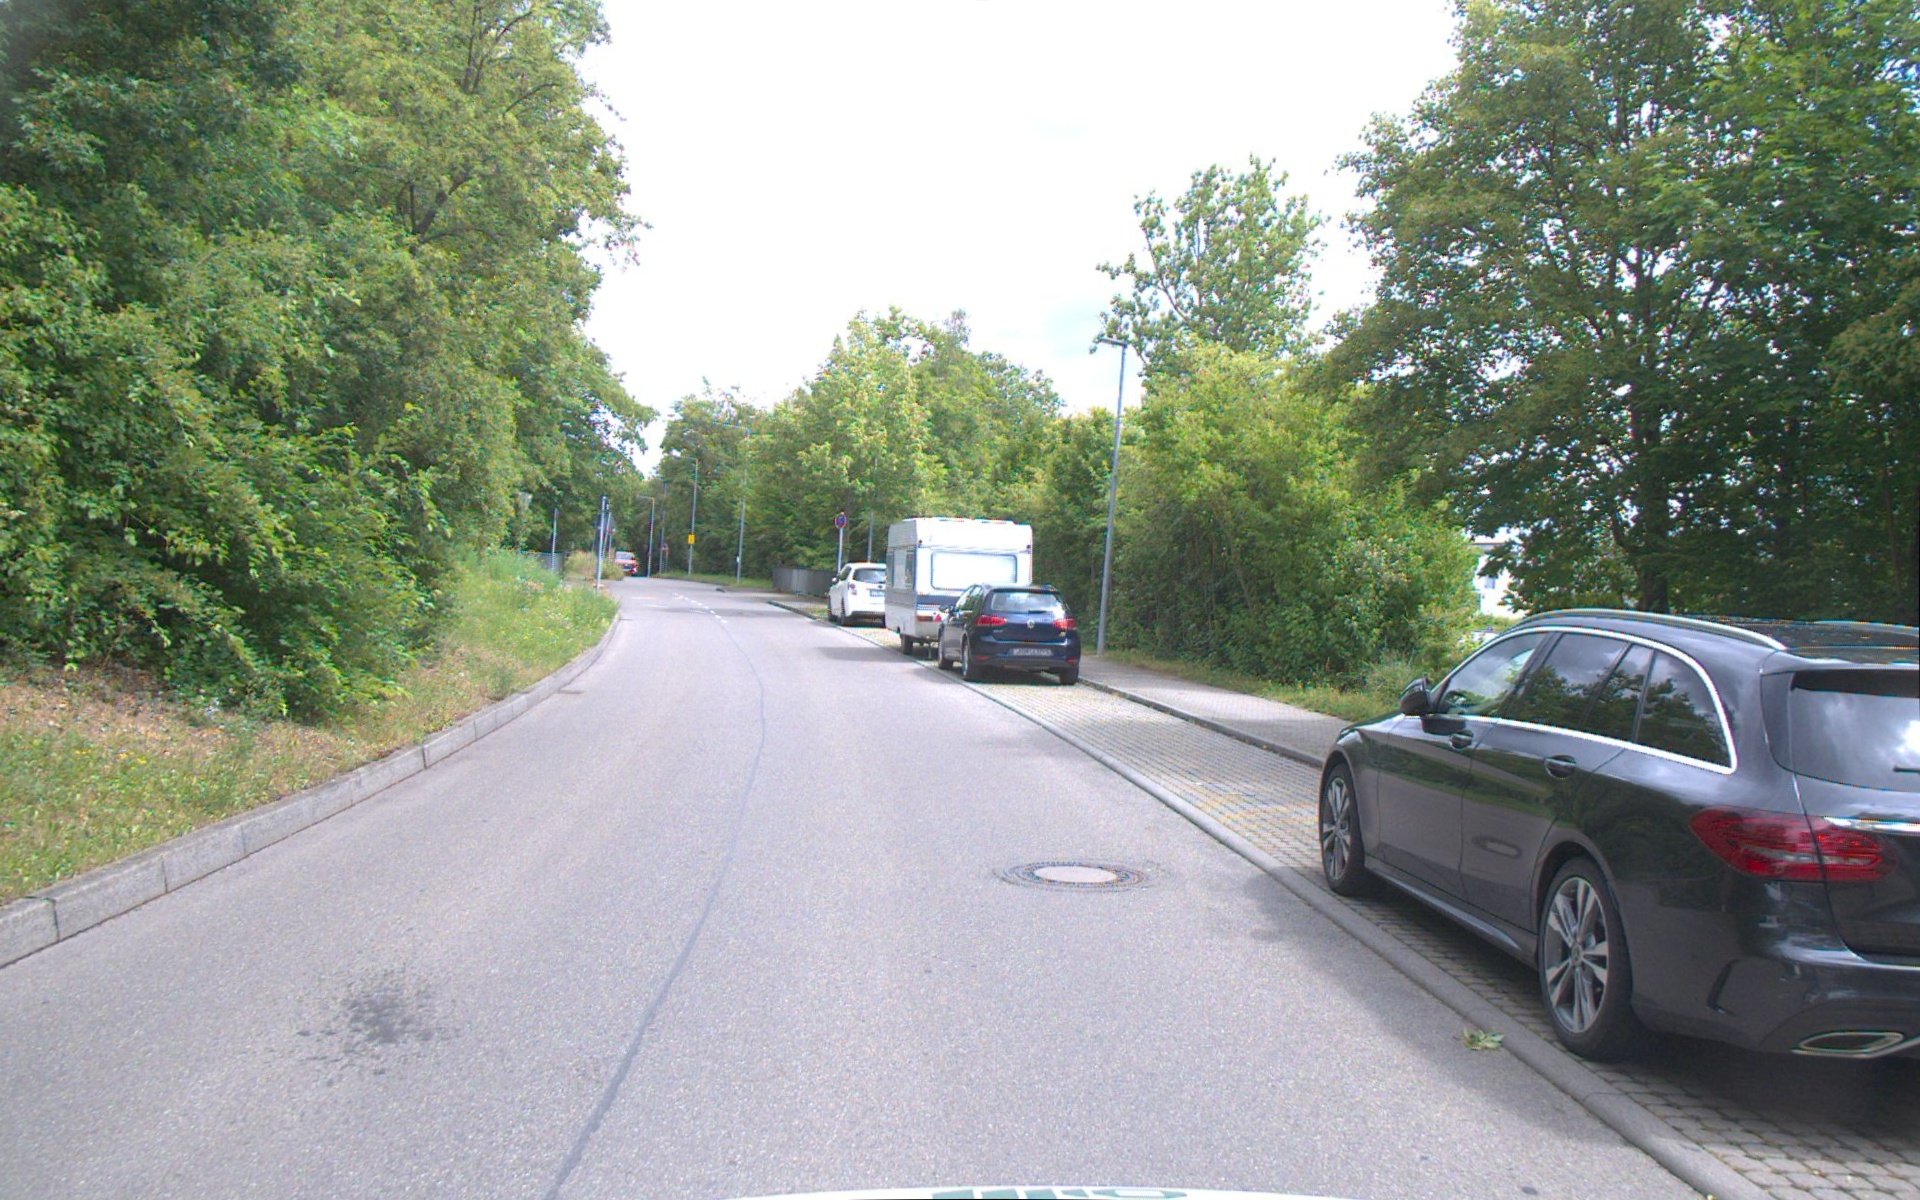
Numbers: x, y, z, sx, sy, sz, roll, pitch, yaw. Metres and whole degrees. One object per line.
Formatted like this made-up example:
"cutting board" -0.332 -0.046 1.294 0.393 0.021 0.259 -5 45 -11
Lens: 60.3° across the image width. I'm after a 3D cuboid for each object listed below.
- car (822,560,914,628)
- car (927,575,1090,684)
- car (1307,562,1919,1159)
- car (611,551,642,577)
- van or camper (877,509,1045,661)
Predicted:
"car" -2.515 -0.196 44.282 1.773 1.627 4.360 2 1 -12
"car" 0.667 0.399 26.175 1.651 1.476 4.470 3 1 -10
"car" 2.920 0.677 6.664 1.855 1.556 4.544 3 1 -2
"car" -23.532 -2.575 116.590 1.813 1.687 4.206 3 1 -15
"van or camper" -0.096 -0.312 31.723 2.312 2.598 5.063 2 1 -10
